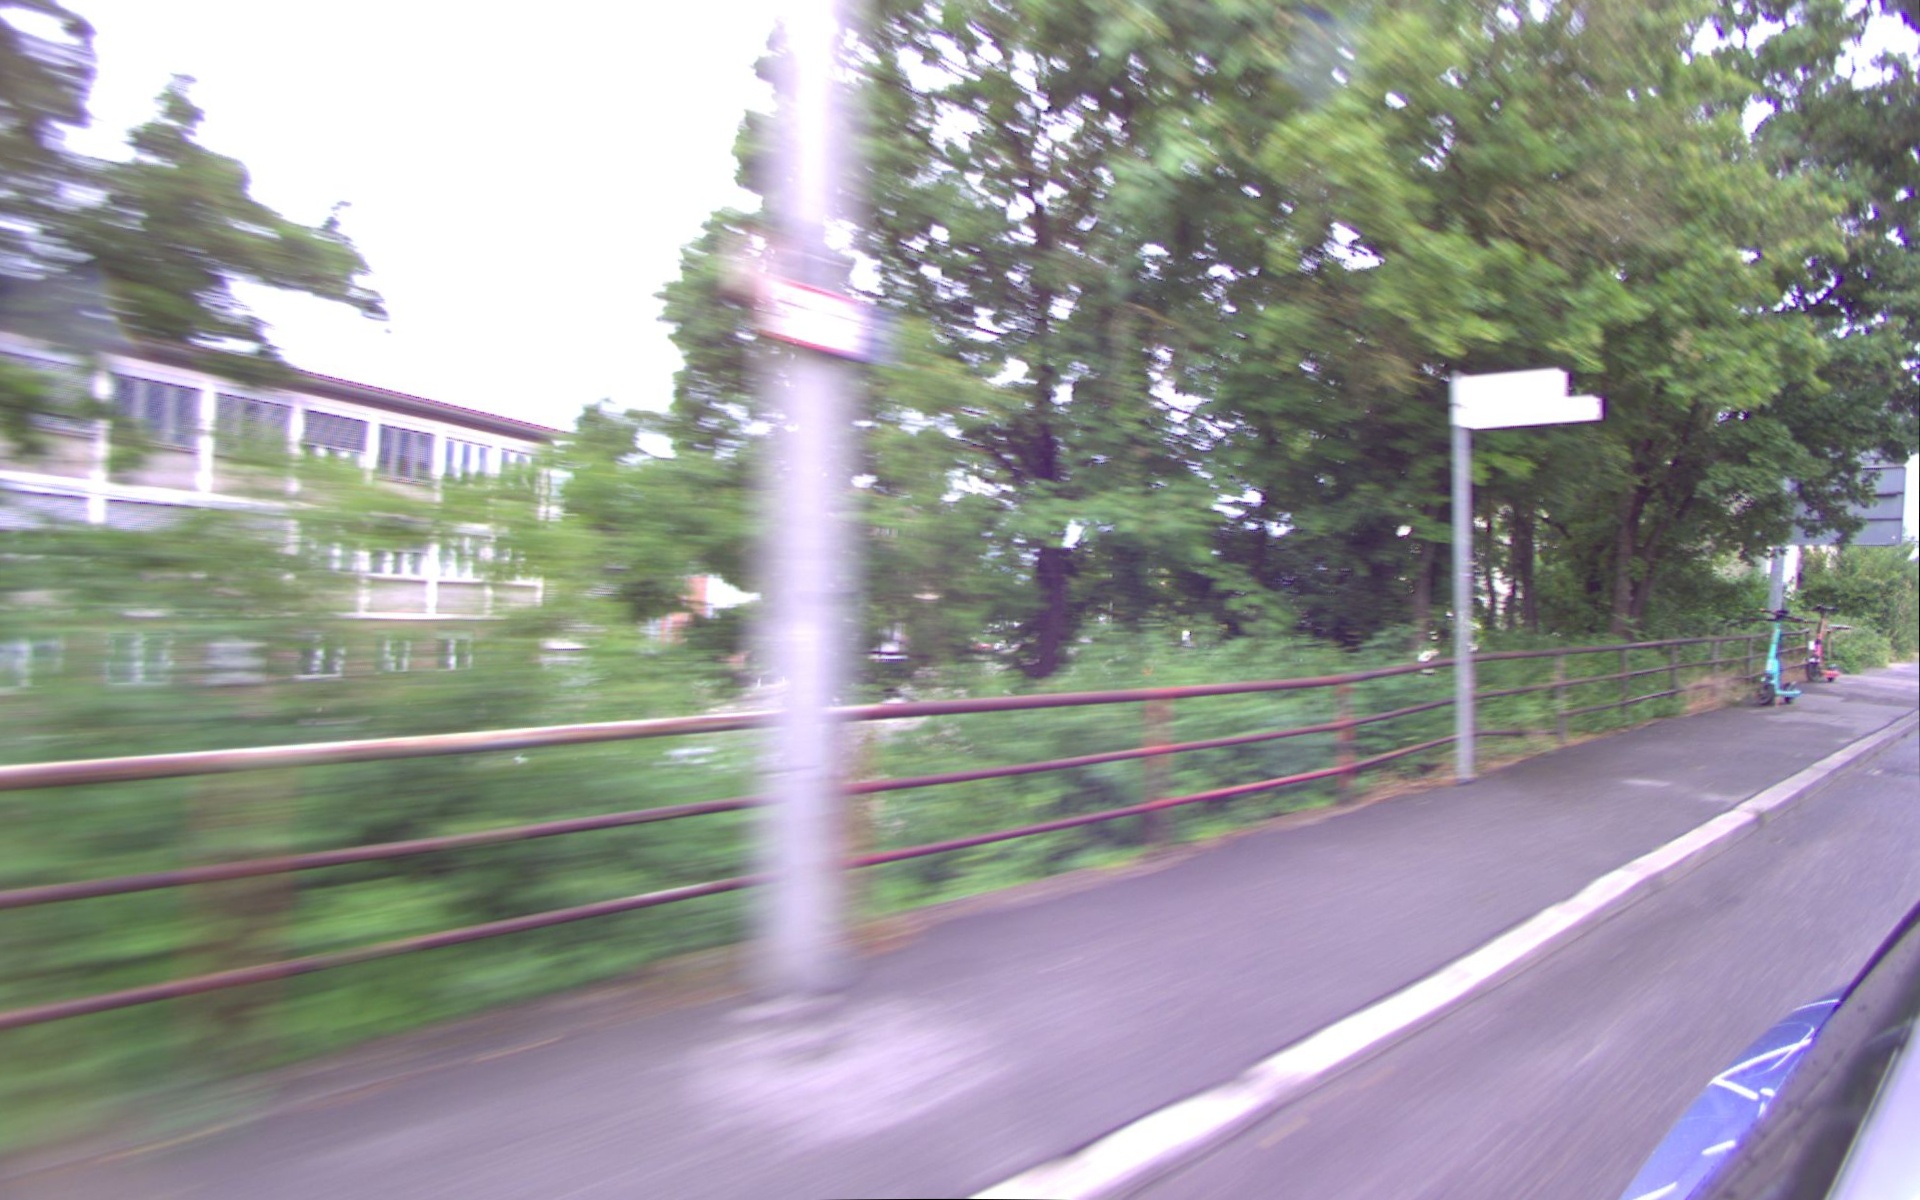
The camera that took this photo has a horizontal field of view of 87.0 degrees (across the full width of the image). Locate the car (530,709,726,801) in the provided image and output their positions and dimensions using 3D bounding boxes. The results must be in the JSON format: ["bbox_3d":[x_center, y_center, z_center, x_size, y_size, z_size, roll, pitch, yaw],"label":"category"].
[{"bbox_3d":[-7.711,3.555,23.931,1.732,1.442,4.404,0,0,30],"label":"car"}]

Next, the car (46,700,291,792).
[{"bbox_3d":[-19.112,3.454,24.673,1.732,1.544,4.404,0,0,30],"label":"car"}]

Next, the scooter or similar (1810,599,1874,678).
[{"bbox_3d":[14.510,0.606,16.638,1.442,1.223,0.574,0,1,-41],"label":"scooter or similar"}]

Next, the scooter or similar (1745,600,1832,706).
[{"bbox_3d":[10.510,0.633,12.818,1.812,1.248,0.539,0,1,-41],"label":"scooter or similar"}]
